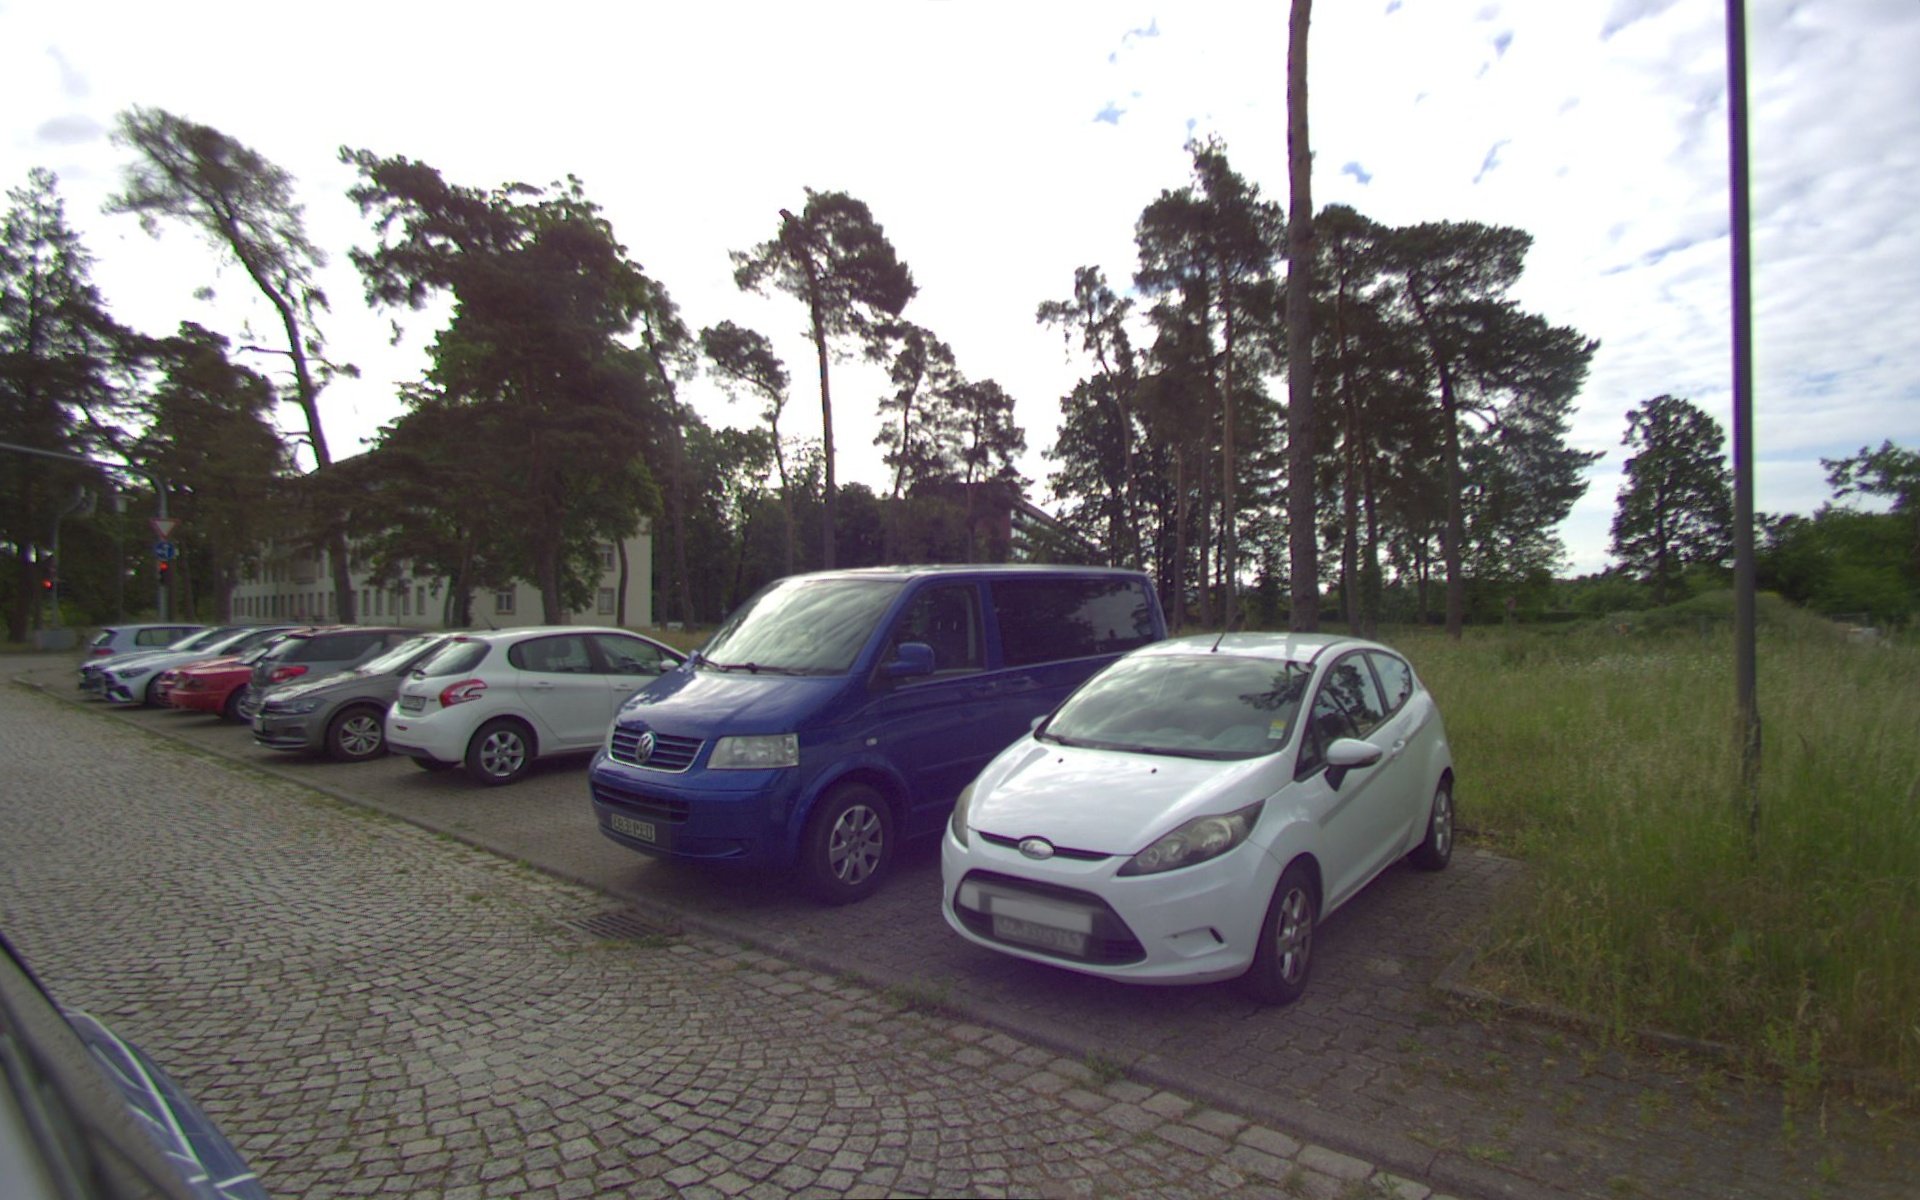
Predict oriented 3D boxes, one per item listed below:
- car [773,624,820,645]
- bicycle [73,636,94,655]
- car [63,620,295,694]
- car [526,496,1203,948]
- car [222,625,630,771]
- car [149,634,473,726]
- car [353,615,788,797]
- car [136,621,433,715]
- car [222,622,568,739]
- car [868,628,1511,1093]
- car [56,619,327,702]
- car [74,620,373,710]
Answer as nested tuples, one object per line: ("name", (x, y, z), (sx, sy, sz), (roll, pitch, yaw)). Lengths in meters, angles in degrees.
("car", (-14.688, 3.060, 90.799), (1.723, 1.821, 3.942), (-2, -2, 44))
("bicycle", (-42.966, 2.208, 49.597), (1.046, 0.923, 0.291), (-1, -2, 20))
("car", (-17.936, 1.253, 23.377), (1.904, 1.555, 3.946), (-2, -2, 40))
("car", (-0.322, 0.639, 7.298), (2.114, 2.138, 4.732), (-2, -2, 40))
("car", (-6.471, 1.069, 12.605), (1.865, 1.503, 4.120), (-2, -2, 43))
("car", (-10.452, 1.210, 16.528), (1.831, 1.276, 4.121), (-2, -2, 42))
("car", (-4.065, 0.986, 11.046), (1.845, 1.508, 4.024), (-3, -1, 42))
("car", (-12.062, 1.144, 18.293), (1.863, 1.488, 4.123), (-2, -2, 41))
("car", (-8.237, 1.083, 15.031), (1.845, 1.493, 4.121), (-2, -2, 42))
("car", (1.573, 0.920, 5.522), (1.779, 1.522, 4.124), (-2, -2, 39))
("car", (-16.075, 1.208, 21.360), (1.933, 1.560, 4.209), (-2, -2, 38))
("car", (-14.042, 1.164, 19.518), (1.934, 1.519, 4.330), (-2, -2, 39))
